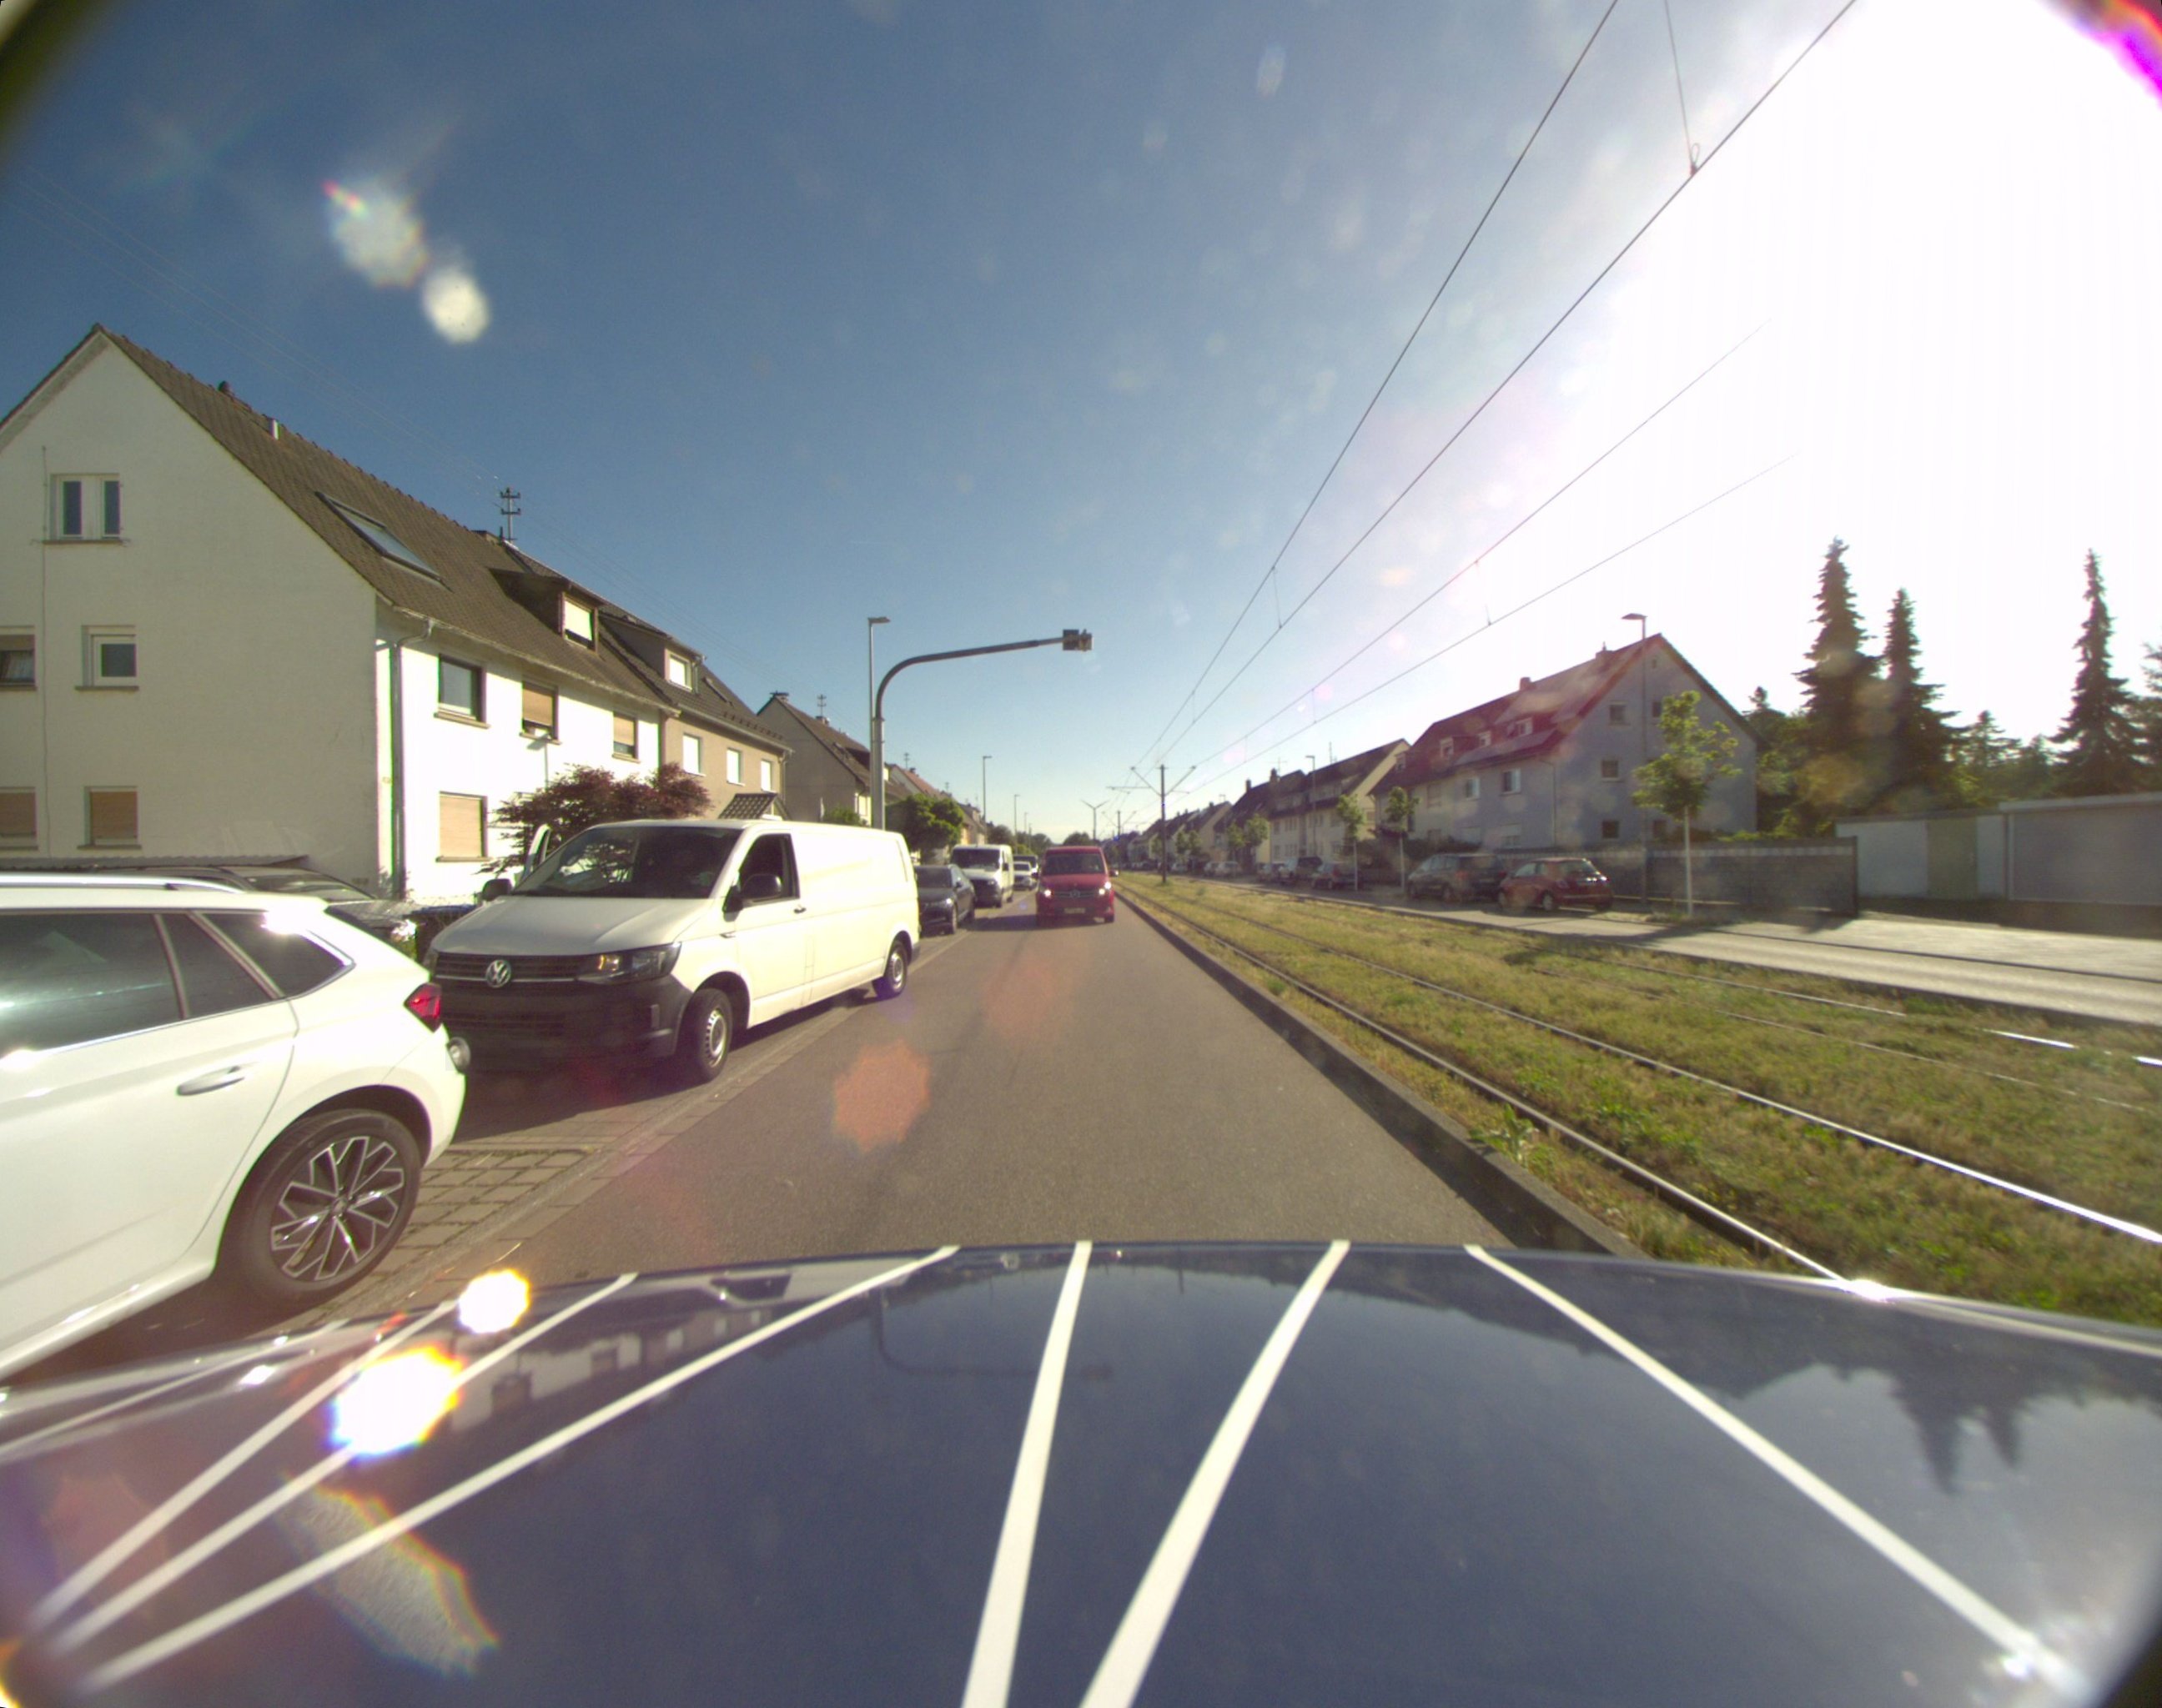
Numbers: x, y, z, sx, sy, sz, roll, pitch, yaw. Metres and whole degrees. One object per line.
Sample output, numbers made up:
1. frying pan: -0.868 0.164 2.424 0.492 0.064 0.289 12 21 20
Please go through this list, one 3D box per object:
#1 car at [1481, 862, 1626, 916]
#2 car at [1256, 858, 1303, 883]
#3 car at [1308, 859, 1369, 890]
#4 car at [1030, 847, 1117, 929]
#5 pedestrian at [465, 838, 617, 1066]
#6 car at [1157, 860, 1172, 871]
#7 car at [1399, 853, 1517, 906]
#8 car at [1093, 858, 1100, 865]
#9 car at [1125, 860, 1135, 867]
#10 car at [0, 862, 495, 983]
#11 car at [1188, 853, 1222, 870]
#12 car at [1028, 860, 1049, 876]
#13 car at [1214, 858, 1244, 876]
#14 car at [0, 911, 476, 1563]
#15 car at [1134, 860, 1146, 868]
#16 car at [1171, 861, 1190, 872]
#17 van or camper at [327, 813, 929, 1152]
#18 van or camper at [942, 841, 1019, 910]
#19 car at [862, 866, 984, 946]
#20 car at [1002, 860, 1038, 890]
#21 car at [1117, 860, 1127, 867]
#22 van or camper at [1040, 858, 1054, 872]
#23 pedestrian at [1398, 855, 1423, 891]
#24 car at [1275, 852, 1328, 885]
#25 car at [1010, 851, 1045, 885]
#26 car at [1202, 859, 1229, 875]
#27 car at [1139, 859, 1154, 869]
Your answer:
1. car: 13.540 0.950 22.071 1.699 1.396 4.079 0 0 0
2. car: 13.643 1.101 52.591 1.965 1.531 4.556 -2 0 -1
3. car: 13.651 1.048 40.589 1.681 1.482 4.049 -2 0 -3
4. car: -0.277 0.804 20.573 1.999 1.889 5.389 -2 0 -2
5. pedestrian: -4.758 0.827 6.742 0.700 1.901 0.759 -2 1 8
6. car: 12.209 1.636 111.028 1.623 1.503 4.085 -2 0 0
7. car: 13.449 0.844 27.509 1.824 1.674 4.846 -3 0 0
8. car: 3.913 1.895 193.781 1.693 1.467 3.679 -2 0 -1
9. car: 10.195 2.022 157.716 1.705 1.389 4.092 -2 0 -2
10. car: -11.410 0.879 10.713 4.724 1.469 1.906 0 1 -2
11. car: 17.456 1.111 107.011 4.472 2.068 1.787 -4 0 -1
12. car: -4.102 1.325 74.053 1.782 1.490 4.728 0 0 0
13. car: 13.383 1.180 68.901 1.693 1.467 4.442 -2 0 -2
14. car: -3.489 0.993 1.197 1.660 1.484 4.160 0 0 2
15. car: 11.119 1.936 143.136 1.658 1.447 4.400 -2 0 -2
16. car: 12.822 1.593 98.119 1.662 1.428 4.102 -1 0 -2
17. van or camper: -3.226 0.761 7.093 2.032 1.945 5.298 0 0 6
18. van or camper: -3.596 0.715 28.333 1.999 2.257 6.304 1 0 0
19. car: -3.476 1.075 17.688 1.753 1.485 5.155 1 0 0
20. car: -3.522 1.205 44.515 1.730 1.636 4.318 1 0 -1
21. car: 9.109 2.058 170.419 1.832 1.522 4.092 -2 0 -2
22. van or camper: -4.862 1.568 109.646 1.954 1.835 5.581 0 0 -3
23. pedestrian: 15.469 0.876 35.714 0.697 1.630 0.919 -2 1 -2
24. car: 13.436 0.862 46.540 1.750 1.812 4.841 -2 0 0
25. car: -3.518 0.916 50.647 1.965 2.131 5.335 0 0 -1
26. car: 13.258 1.229 75.150 1.693 1.464 4.314 -2 0 -2
27. car: 11.395 1.745 132.470 1.926 1.551 4.857 -2 0 -3
